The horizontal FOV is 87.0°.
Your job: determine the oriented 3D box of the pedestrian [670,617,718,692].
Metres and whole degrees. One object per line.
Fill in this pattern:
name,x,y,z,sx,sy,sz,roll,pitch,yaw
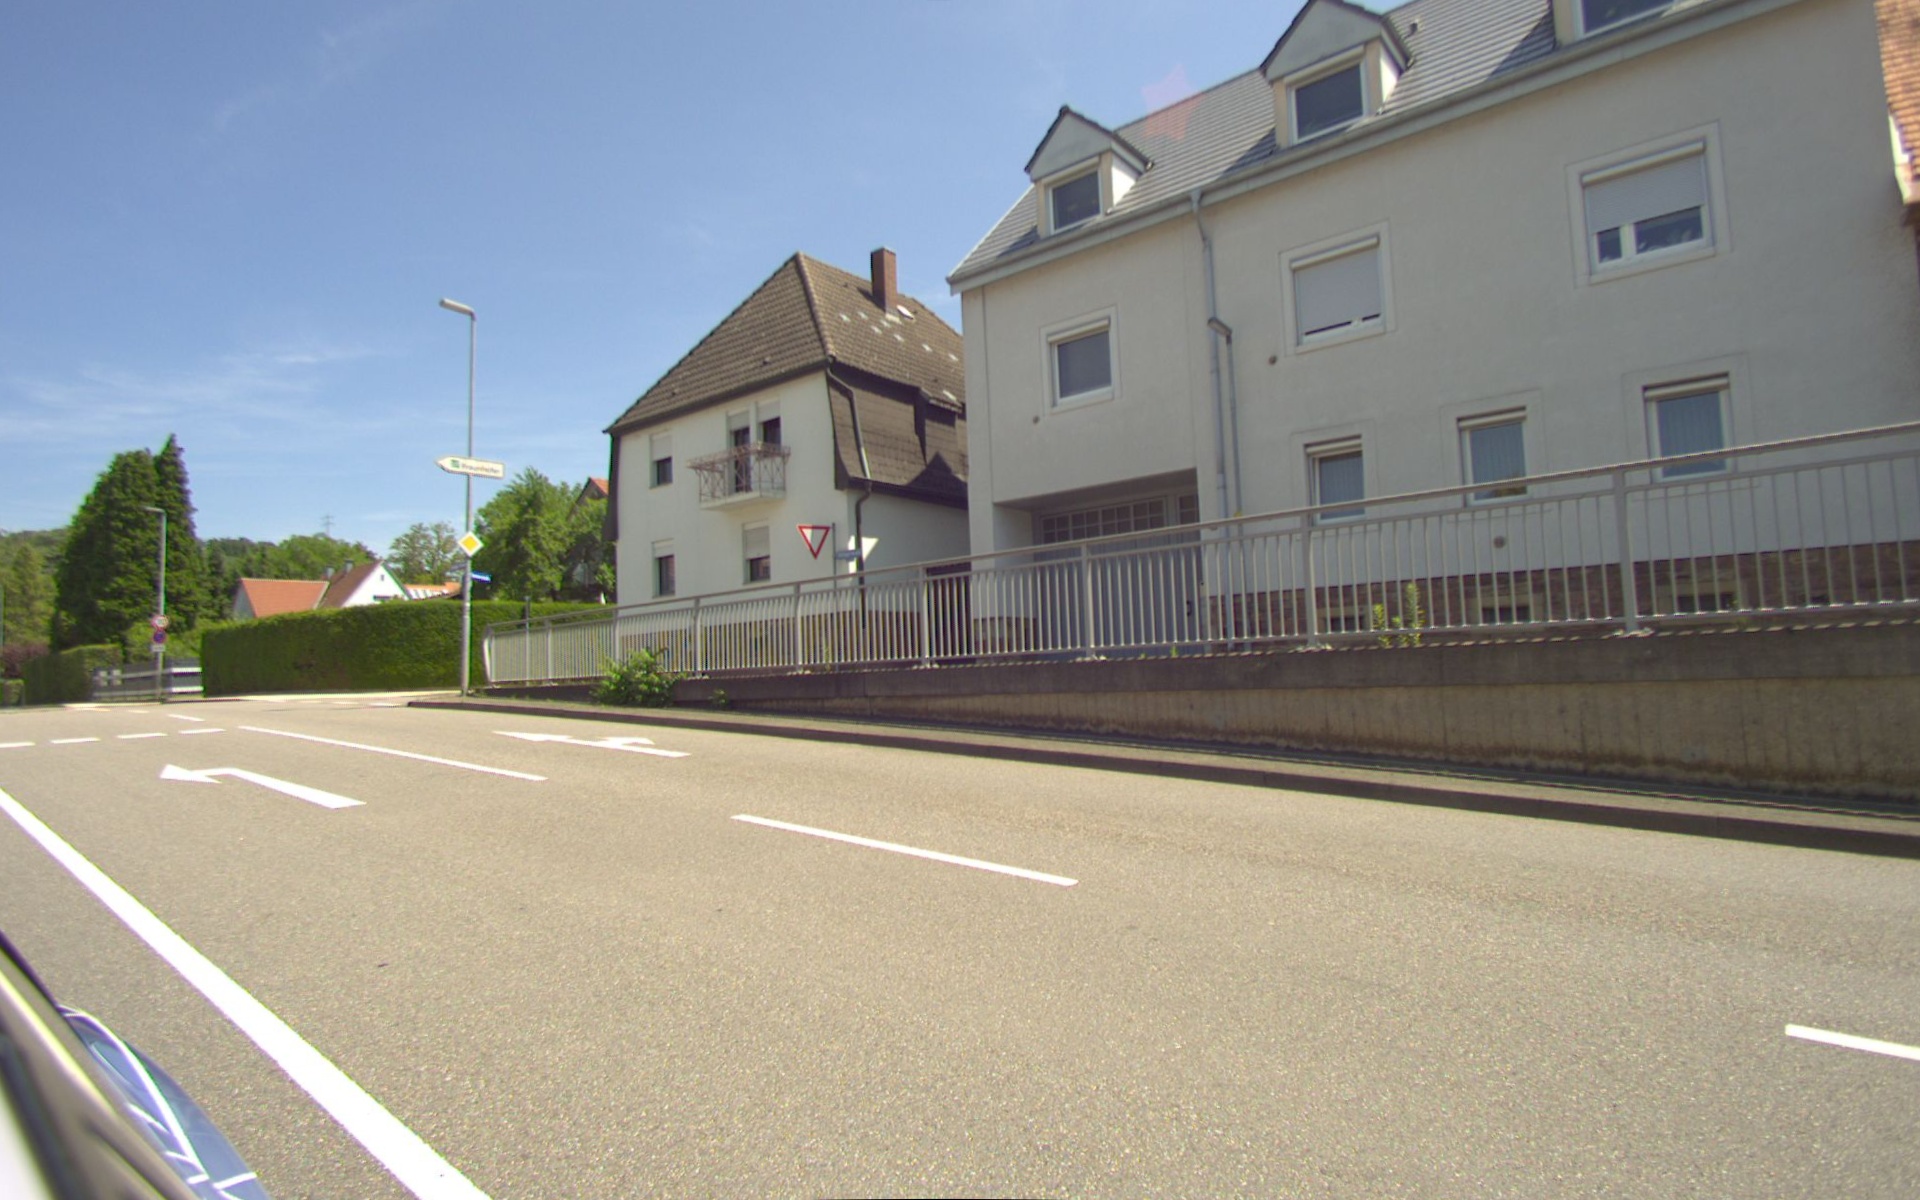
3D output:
pedestrian,-6.362,1.290,24.191,0.855,1.742,0.720,-2,-2,38
